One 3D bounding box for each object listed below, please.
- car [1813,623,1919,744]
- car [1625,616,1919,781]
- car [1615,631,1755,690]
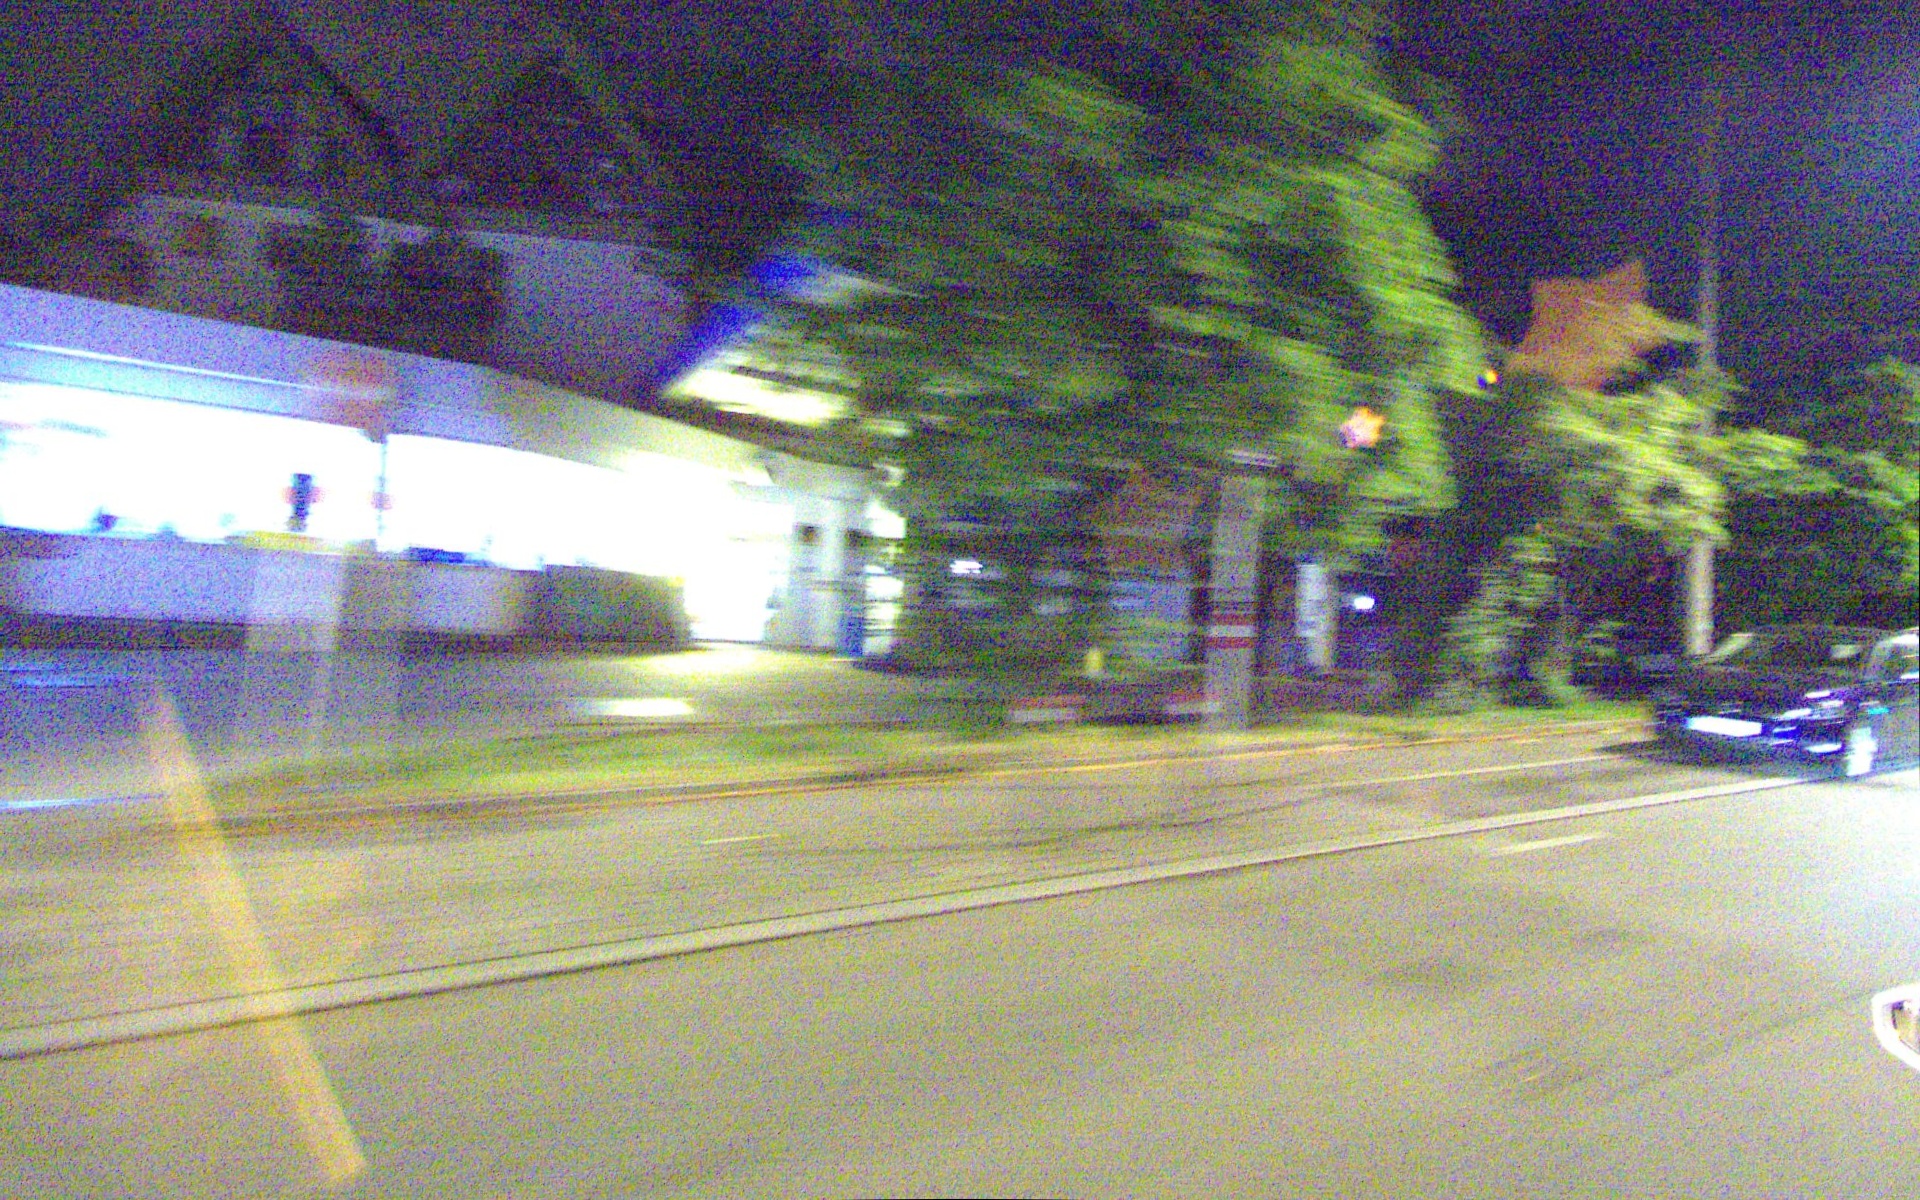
[{"bbox_3d":[13.743,1.070,13.799,4.756,1.457,1.711,1,1,-32],"label":"car"},{"bbox_3d":[9.322,0.967,11.052,4.143,1.457,1.712,2,0,-31],"label":"car"},{"bbox_3d":[20.862,1.704,29.068,1.758,1.472,3.268,2,0,3],"label":"car"}]
